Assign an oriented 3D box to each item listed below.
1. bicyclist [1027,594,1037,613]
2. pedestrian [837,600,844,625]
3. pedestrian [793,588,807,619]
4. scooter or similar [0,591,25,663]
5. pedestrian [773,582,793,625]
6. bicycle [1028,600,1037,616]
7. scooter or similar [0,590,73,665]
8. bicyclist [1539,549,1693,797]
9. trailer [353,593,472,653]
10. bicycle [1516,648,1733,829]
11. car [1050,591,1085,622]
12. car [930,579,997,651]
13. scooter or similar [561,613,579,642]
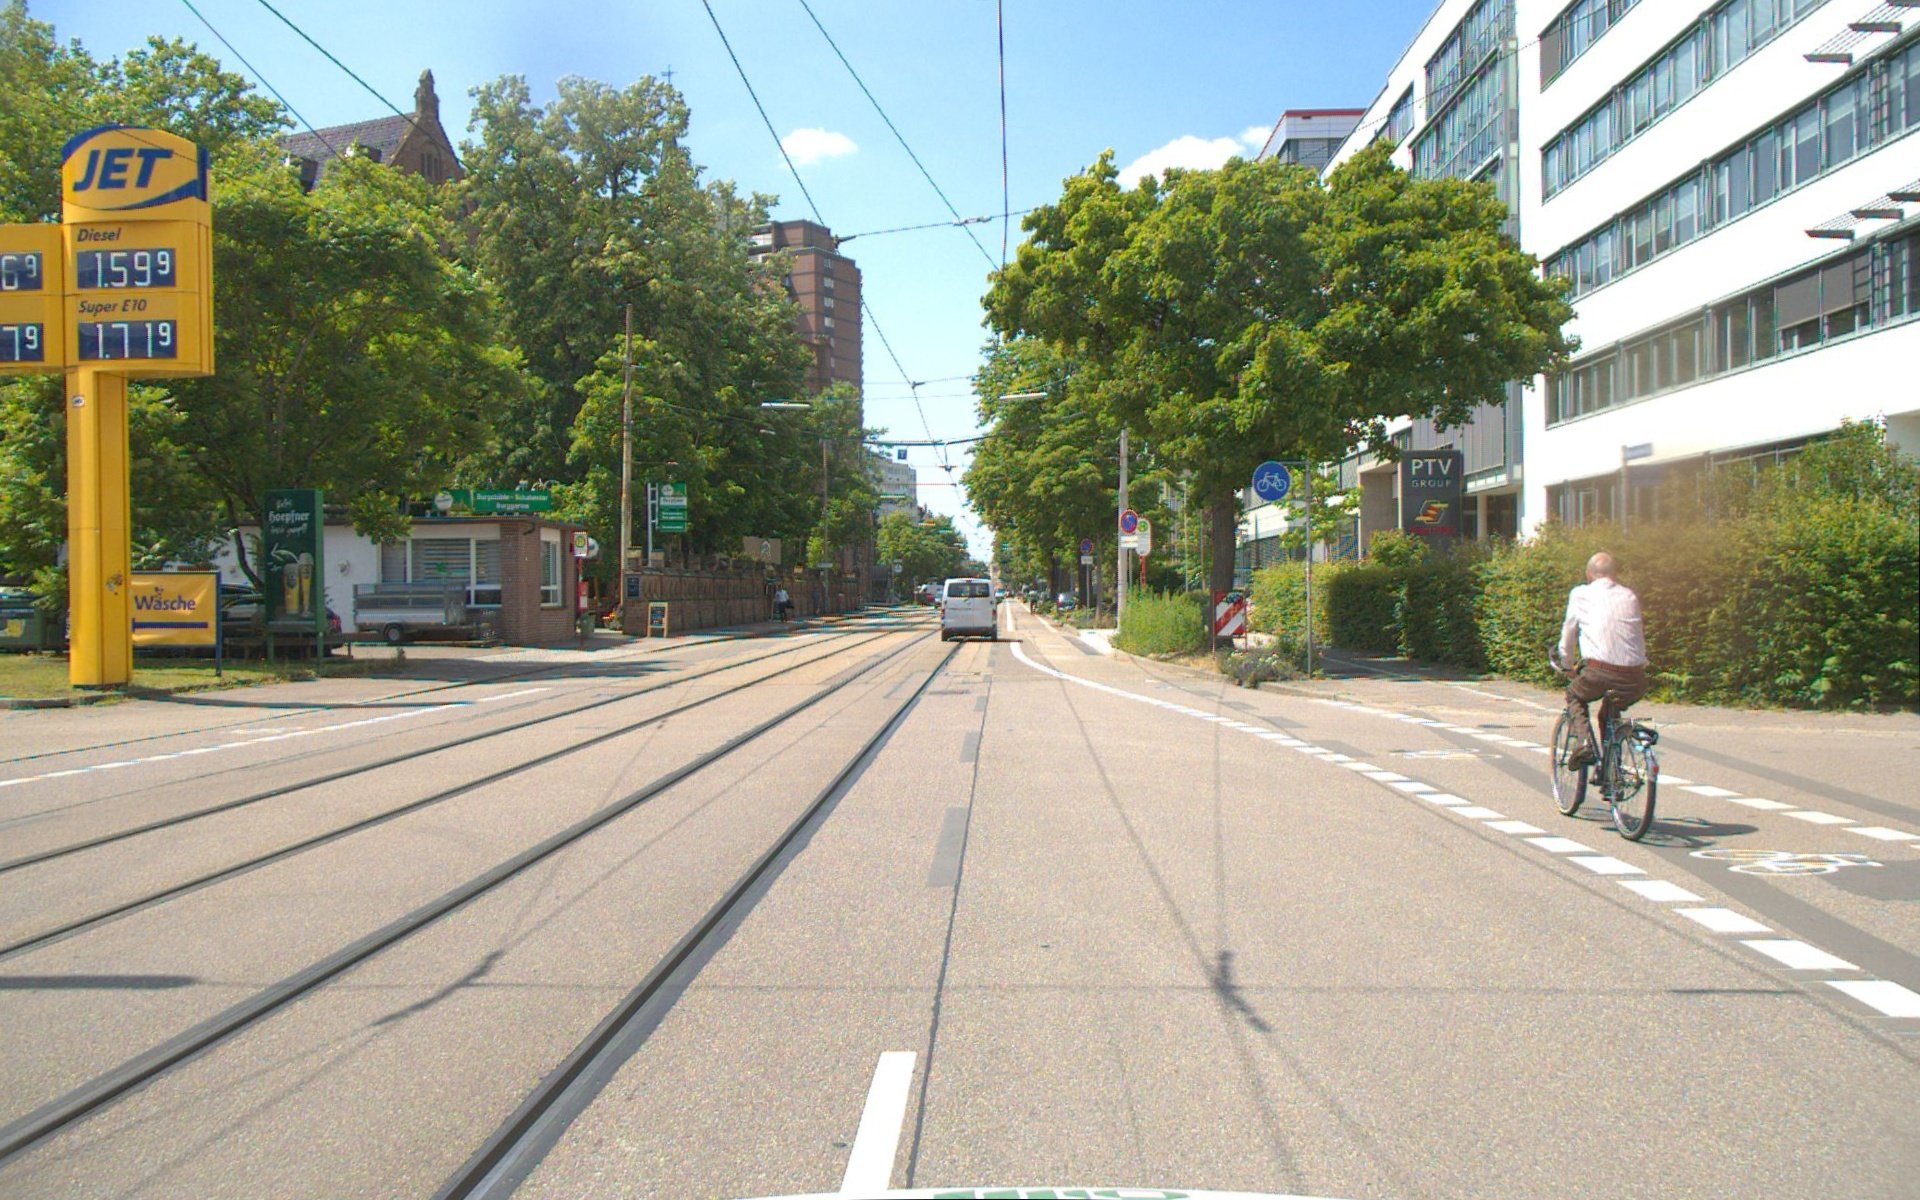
[{"bbox_3d":[4.451,0.212,101.911,0.529,1.178,0.575,-3,-1,-1],"label":"bicyclist"},{"bbox_3d":[-7.446,0.777,102.864,0.364,1.570,0.454,-2,-1,-1],"label":"pedestrian"},{"bbox_3d":[-9.346,0.205,96.488,0.663,1.757,0.983,-2,-1,-1],"label":"pedestrian"},{"bbox_3d":[-20.522,0.571,34.619,1.286,1.492,1.060,-1,-1,13],"label":"scooter or similar"},{"bbox_3d":[-8.693,0.168,81.431,0.846,2.049,0.646,-2,-1,-1],"label":"pedestrian"},{"bbox_3d":[4.465,0.510,101.900,0.380,0.981,1.699,-3,-1,-1],"label":"bicycle"},{"bbox_3d":[-18.927,0.561,33.665,1.147,1.492,1.060,-1,-1,7],"label":"scooter or similar"},{"bbox_3d":[3.935,0.419,9.967,0.579,1.421,0.841,0,0,-1],"label":"bicyclist"},{"bbox_3d":[-14.487,0.608,43.858,2.670,1.553,1.330,0,-1,2],"label":"trailer"},{"bbox_3d":[3.939,0.779,9.967,0.456,0.903,2.048,0,0,-1],"label":"bicycle"},{"bbox_3d":[5.654,0.364,87.353,1.553,1.515,3.455,-3,-1,-1],"label":"car"},{"bbox_3d":[0.067,0.407,50.459,1.718,2.048,3.997,-2,1,-4],"label":"car"},{"bbox_3d":[-11.863,0.848,50.319,0.423,0.878,0.500,0,-1,-1],"label":"scooter or similar"}]
